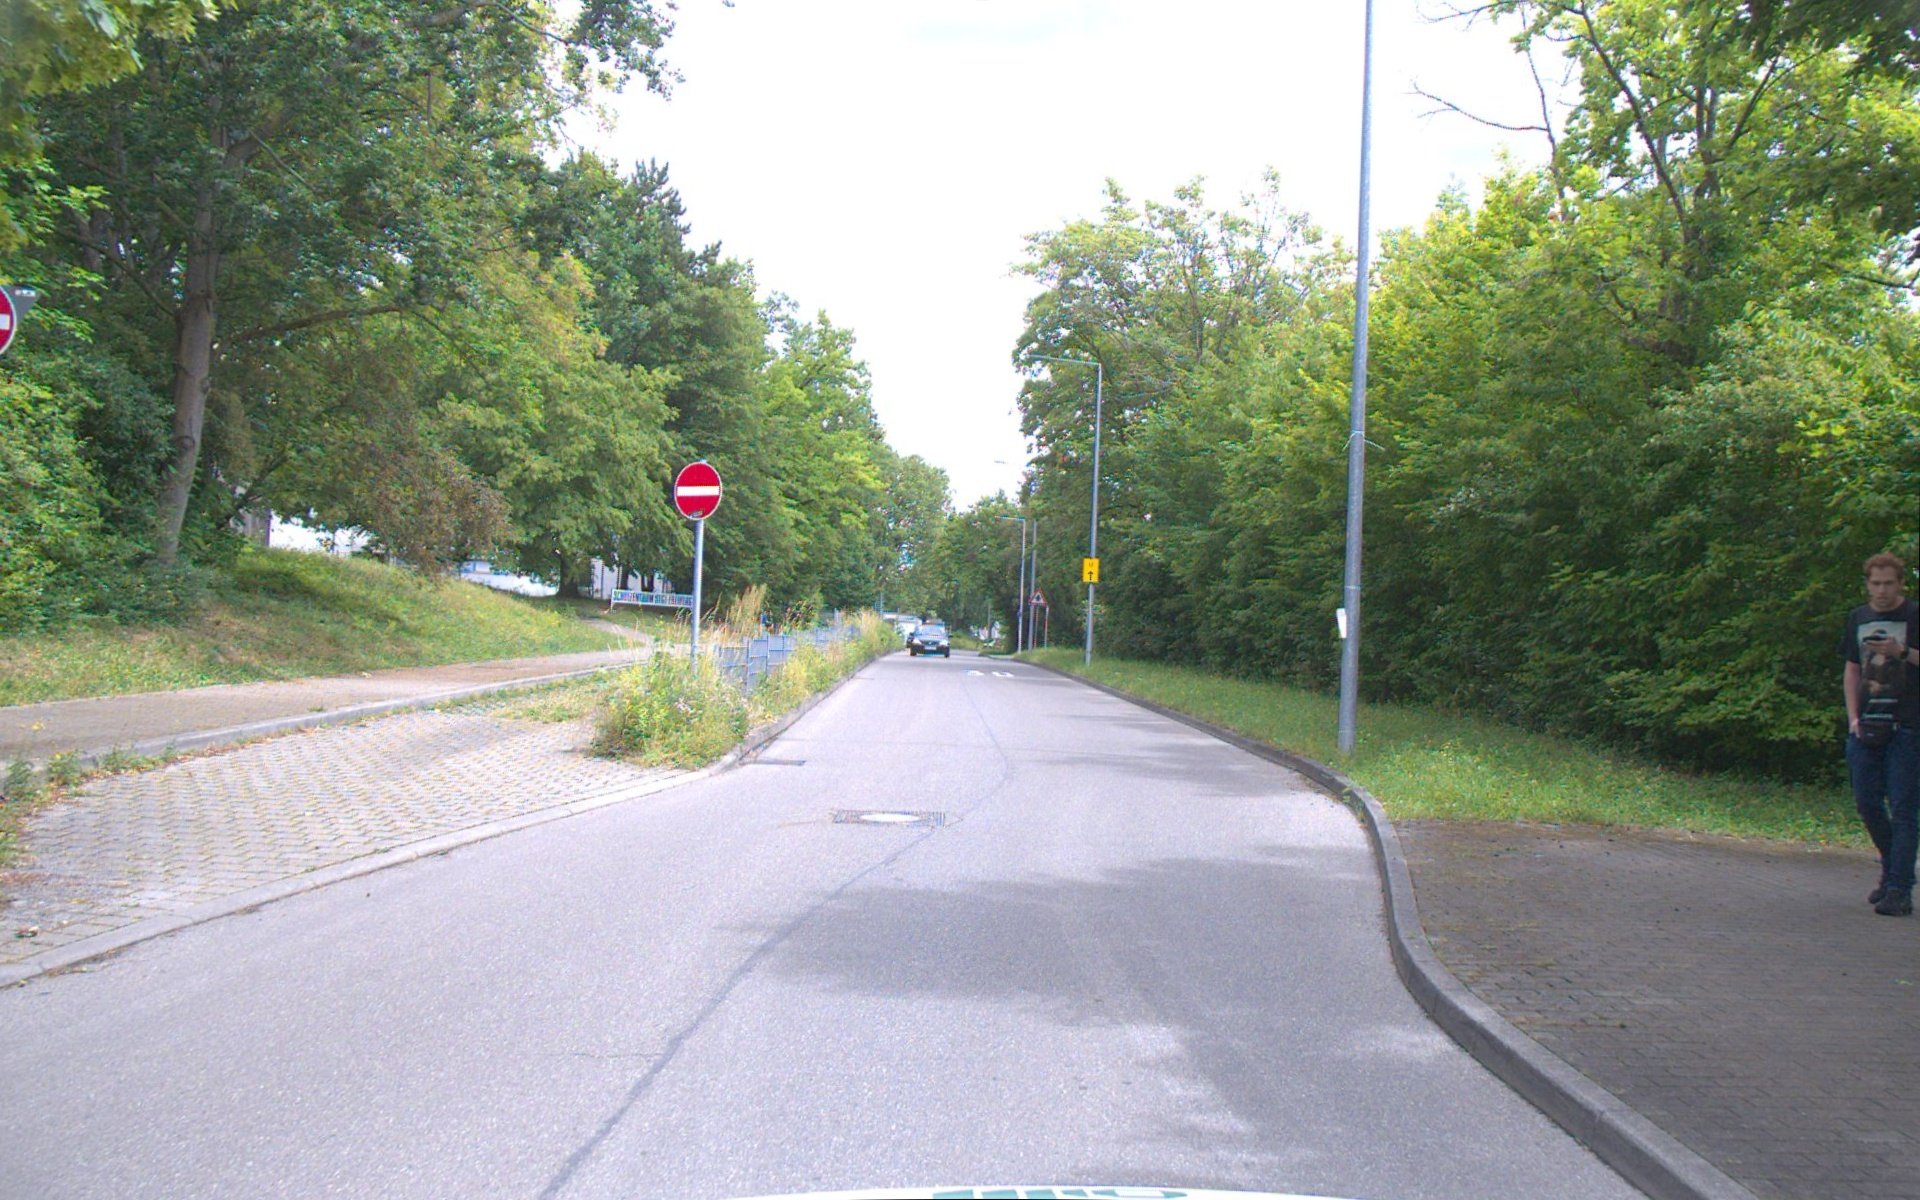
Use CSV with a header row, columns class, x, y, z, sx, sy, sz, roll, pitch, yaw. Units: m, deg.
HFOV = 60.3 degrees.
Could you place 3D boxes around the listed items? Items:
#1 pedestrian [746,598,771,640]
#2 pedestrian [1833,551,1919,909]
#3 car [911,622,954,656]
class,x,y,z,sx,sy,sz,roll,pitch,yaw
pedestrian,-10.186,0.950,83.556,0.863,2.049,0.861,-3,-6,44
pedestrian,4.962,0.665,8.759,0.576,1.814,0.681,1,-1,28
car,-1.153,1.658,71.007,1.658,1.372,4.095,2,-1,1
